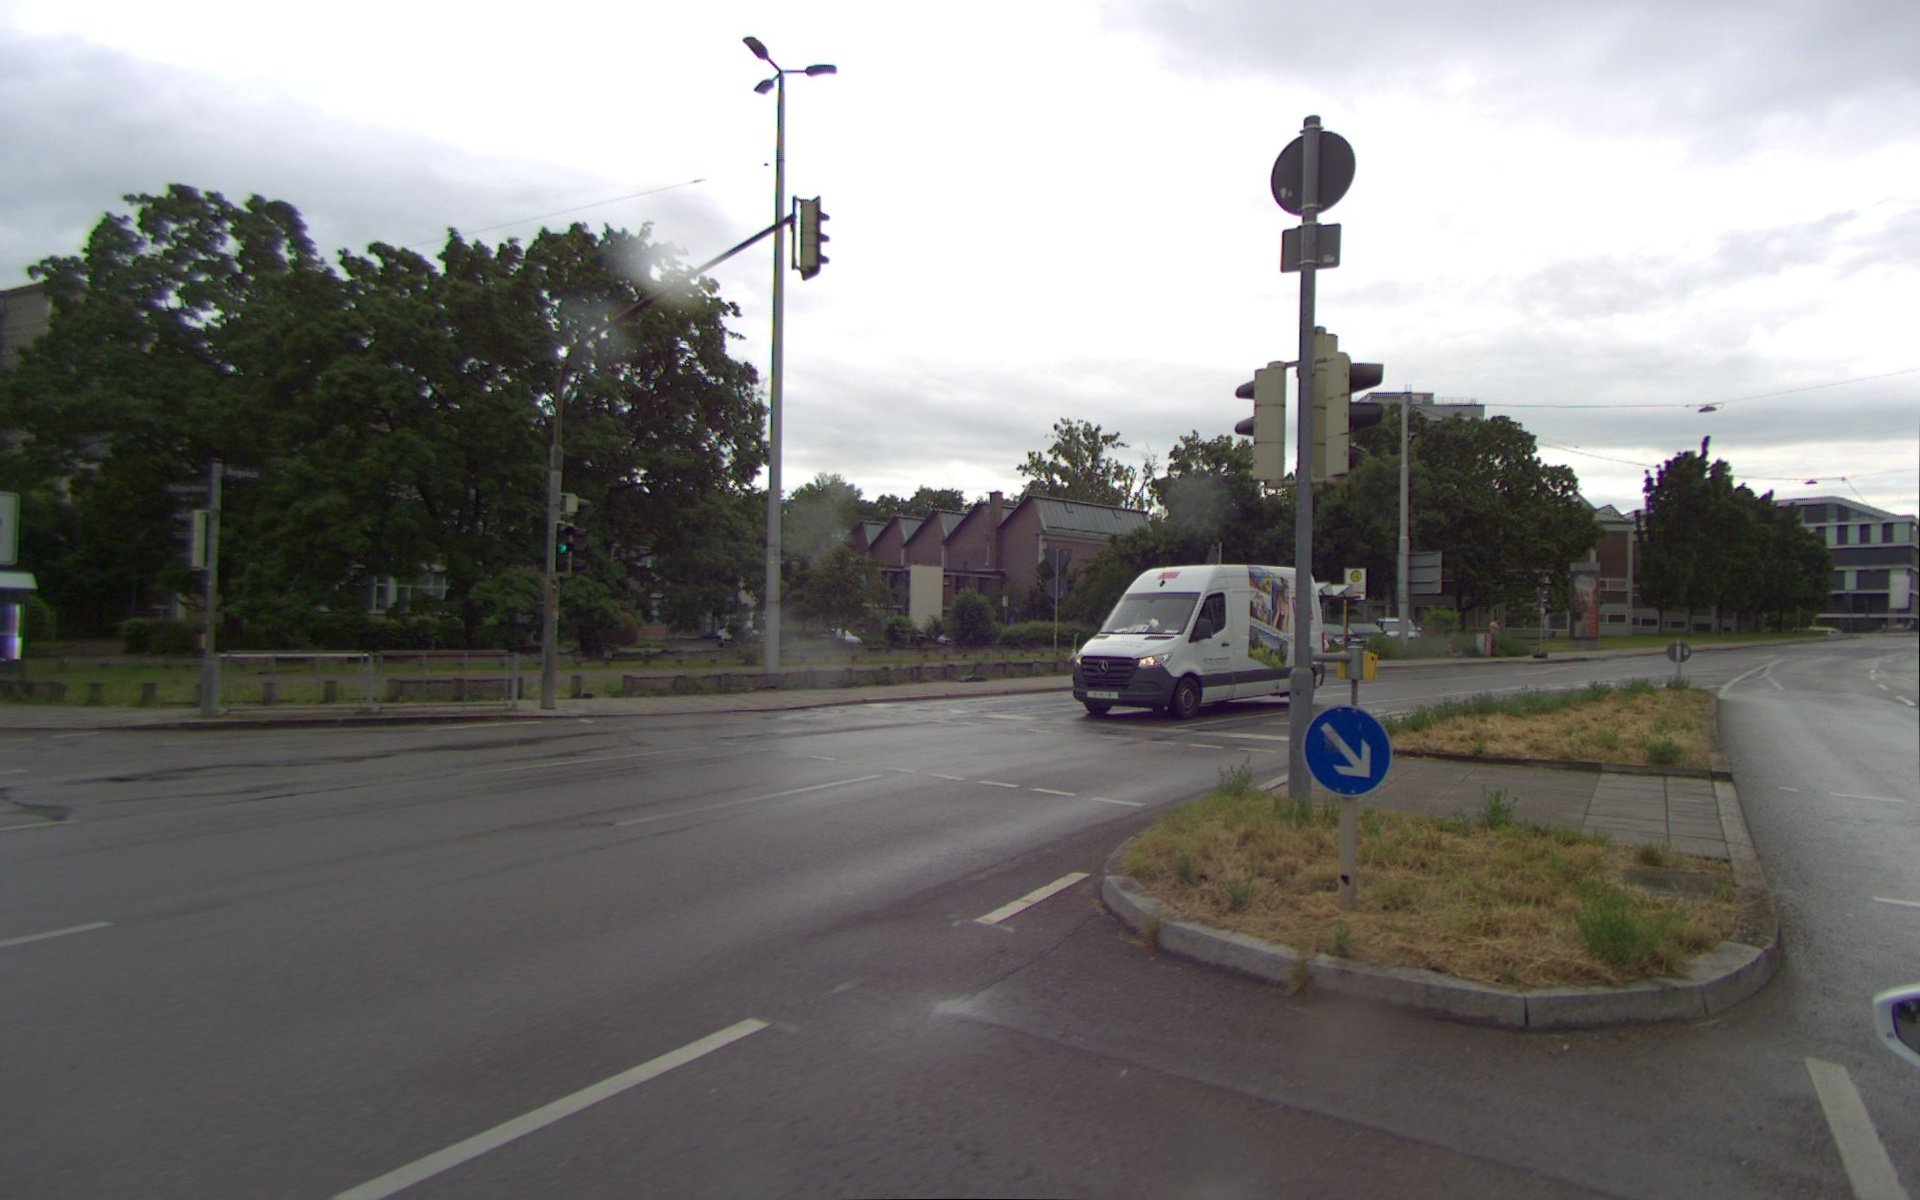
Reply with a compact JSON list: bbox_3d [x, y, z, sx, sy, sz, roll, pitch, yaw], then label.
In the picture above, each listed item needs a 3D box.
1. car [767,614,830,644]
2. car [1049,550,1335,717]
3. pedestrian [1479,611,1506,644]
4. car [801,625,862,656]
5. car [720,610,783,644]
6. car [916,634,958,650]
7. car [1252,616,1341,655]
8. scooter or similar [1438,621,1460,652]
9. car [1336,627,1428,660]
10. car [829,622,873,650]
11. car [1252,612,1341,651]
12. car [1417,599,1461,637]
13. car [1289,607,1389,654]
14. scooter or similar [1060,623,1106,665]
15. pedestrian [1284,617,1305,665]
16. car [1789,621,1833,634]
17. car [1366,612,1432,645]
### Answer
[{"bbox_3d":[-11.694,2.054,72.576,2.269,2.049,5.020,0,0,-40],"label":"car"},{"bbox_3d":[4.360,0.594,18.098,5.997,2.527,2.039,1,-3,-44],"label":"car"},{"bbox_3d":[26.891,1.381,50.727,0.946,1.592,0.800,0,0,-31],"label":"pedestrian"},{"bbox_3d":[-9.657,2.997,75.138,2.269,2.102,5.021,0,0,-39],"label":"car"},{"bbox_3d":[-14.567,1.815,69.972,2.269,2.208,5.020,0,0,-40],"label":"car"},{"bbox_3d":[-1.879,3.363,80.894,1.579,1.158,3.514,0,0,-40],"label":"car"},{"bbox_3d":[13.313,1.412,40.027,1.819,1.461,4.072,1,-2,-7],"label":"car"},{"bbox_3d":[20.578,1.540,42.283,0.968,1.283,0.454,0,0,-37],"label":"scooter or similar"},{"bbox_3d":[17.896,1.824,42.741,1.804,1.236,3.487,1,0,-16],"label":"car"},{"bbox_3d":[-8.717,2.836,80.172,1.979,2.040,3.963,0,0,-33],"label":"car"},{"bbox_3d":[13.294,1.214,39.935,1.800,1.434,3.995,1,0,-7],"label":"car"},{"bbox_3d":[23.612,0.909,49.405,1.820,1.765,4.070,-1,-2,27],"label":"car"},{"bbox_3d":[15.527,1.194,41.348,1.804,1.792,3.986,0,0,-16],"label":"car"},{"bbox_3d":[3.504,1.244,28.620,1.229,1.183,0.552,1,0,-3],"label":"scooter or similar"},{"bbox_3d":[11.509,1.402,34.581,0.601,1.616,0.509,1,0,13],"label":"pedestrian"},{"bbox_3d":[136.809,4.389,161.458,1.985,2.040,5.181,0,0,-41],"label":"car"},{"bbox_3d":[20.273,1.289,46.555,1.816,1.461,4.078,0,0,9],"label":"car"}]
